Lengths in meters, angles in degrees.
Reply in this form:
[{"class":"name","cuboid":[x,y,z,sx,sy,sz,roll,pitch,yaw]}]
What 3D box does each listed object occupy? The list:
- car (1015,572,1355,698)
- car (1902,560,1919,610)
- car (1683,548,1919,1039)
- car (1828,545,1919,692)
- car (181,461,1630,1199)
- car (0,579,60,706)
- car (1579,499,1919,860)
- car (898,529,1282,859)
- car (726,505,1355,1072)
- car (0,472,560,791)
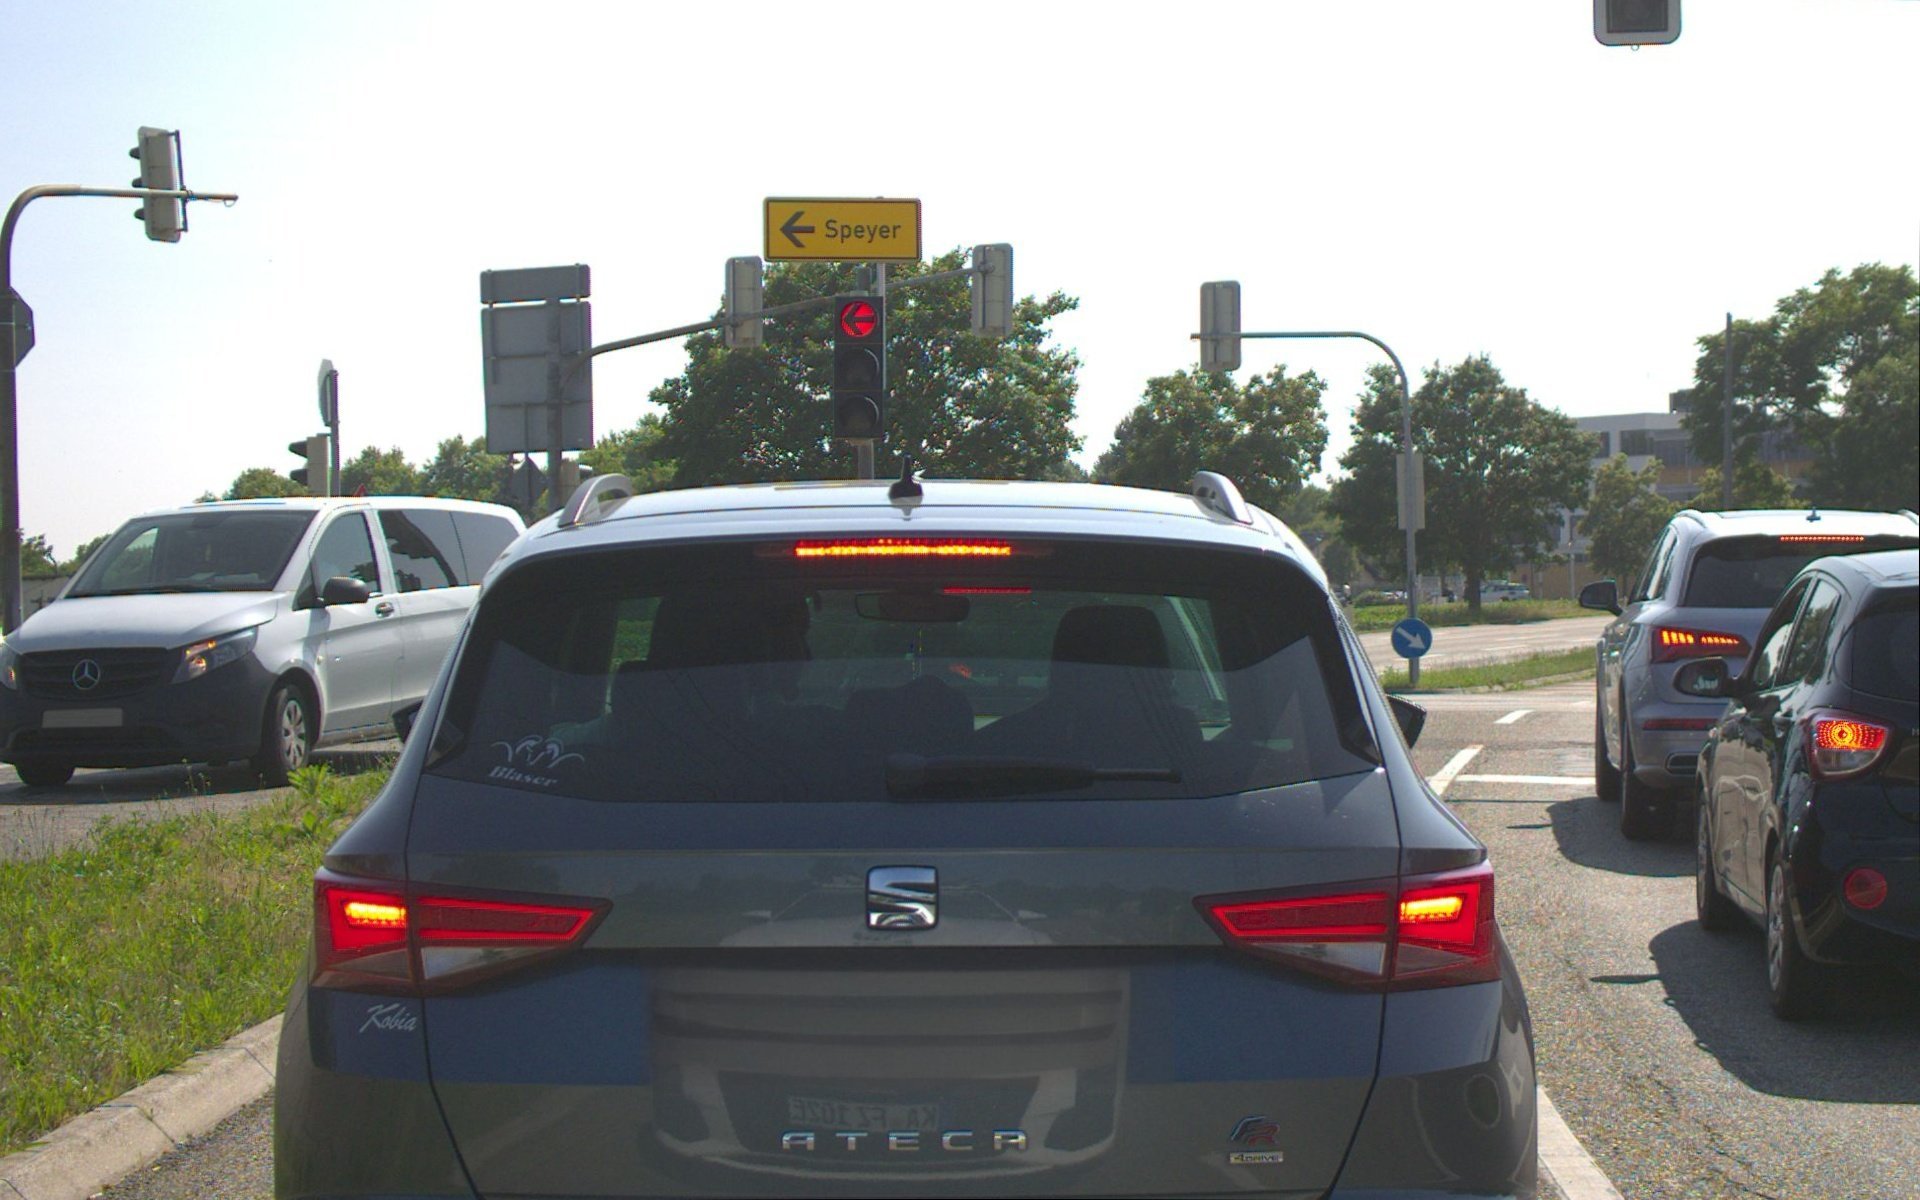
[{"class":"car","cuboid":[2.831,0.423,43.351,3.873,1.514,1.805,0,1,26]},{"class":"car","cuboid":[30.936,-0.450,107.472,1.715,1.543,3.603,2,1,35]},{"class":"car","cuboid":[3.461,0.553,11.719,1.633,1.443,3.294,1,1,7]},{"class":"car","cuboid":[10.821,0.180,34.631,3.903,1.460,1.722,0,1,19]},{"class":"car","cuboid":[-0.086,0.612,5.983,1.742,1.563,3.624,1,1,0]},{"class":"car","cuboid":[-14.194,0.561,45.957,3.993,1.645,1.817,0,1,28]},{"class":"car","cuboid":[4.181,0.349,17.907,1.633,1.671,3.749,1,1,7]},{"class":"car","cuboid":[0.752,0.416,17.605,1.742,1.479,3.623,1,1,5]},{"class":"car","cuboid":[0.244,0.512,11.489,1.742,1.563,3.624,1,1,1]},{"class":"car","cuboid":[-4.605,0.135,23.254,1.995,1.911,4.944,0,1,17]}]
